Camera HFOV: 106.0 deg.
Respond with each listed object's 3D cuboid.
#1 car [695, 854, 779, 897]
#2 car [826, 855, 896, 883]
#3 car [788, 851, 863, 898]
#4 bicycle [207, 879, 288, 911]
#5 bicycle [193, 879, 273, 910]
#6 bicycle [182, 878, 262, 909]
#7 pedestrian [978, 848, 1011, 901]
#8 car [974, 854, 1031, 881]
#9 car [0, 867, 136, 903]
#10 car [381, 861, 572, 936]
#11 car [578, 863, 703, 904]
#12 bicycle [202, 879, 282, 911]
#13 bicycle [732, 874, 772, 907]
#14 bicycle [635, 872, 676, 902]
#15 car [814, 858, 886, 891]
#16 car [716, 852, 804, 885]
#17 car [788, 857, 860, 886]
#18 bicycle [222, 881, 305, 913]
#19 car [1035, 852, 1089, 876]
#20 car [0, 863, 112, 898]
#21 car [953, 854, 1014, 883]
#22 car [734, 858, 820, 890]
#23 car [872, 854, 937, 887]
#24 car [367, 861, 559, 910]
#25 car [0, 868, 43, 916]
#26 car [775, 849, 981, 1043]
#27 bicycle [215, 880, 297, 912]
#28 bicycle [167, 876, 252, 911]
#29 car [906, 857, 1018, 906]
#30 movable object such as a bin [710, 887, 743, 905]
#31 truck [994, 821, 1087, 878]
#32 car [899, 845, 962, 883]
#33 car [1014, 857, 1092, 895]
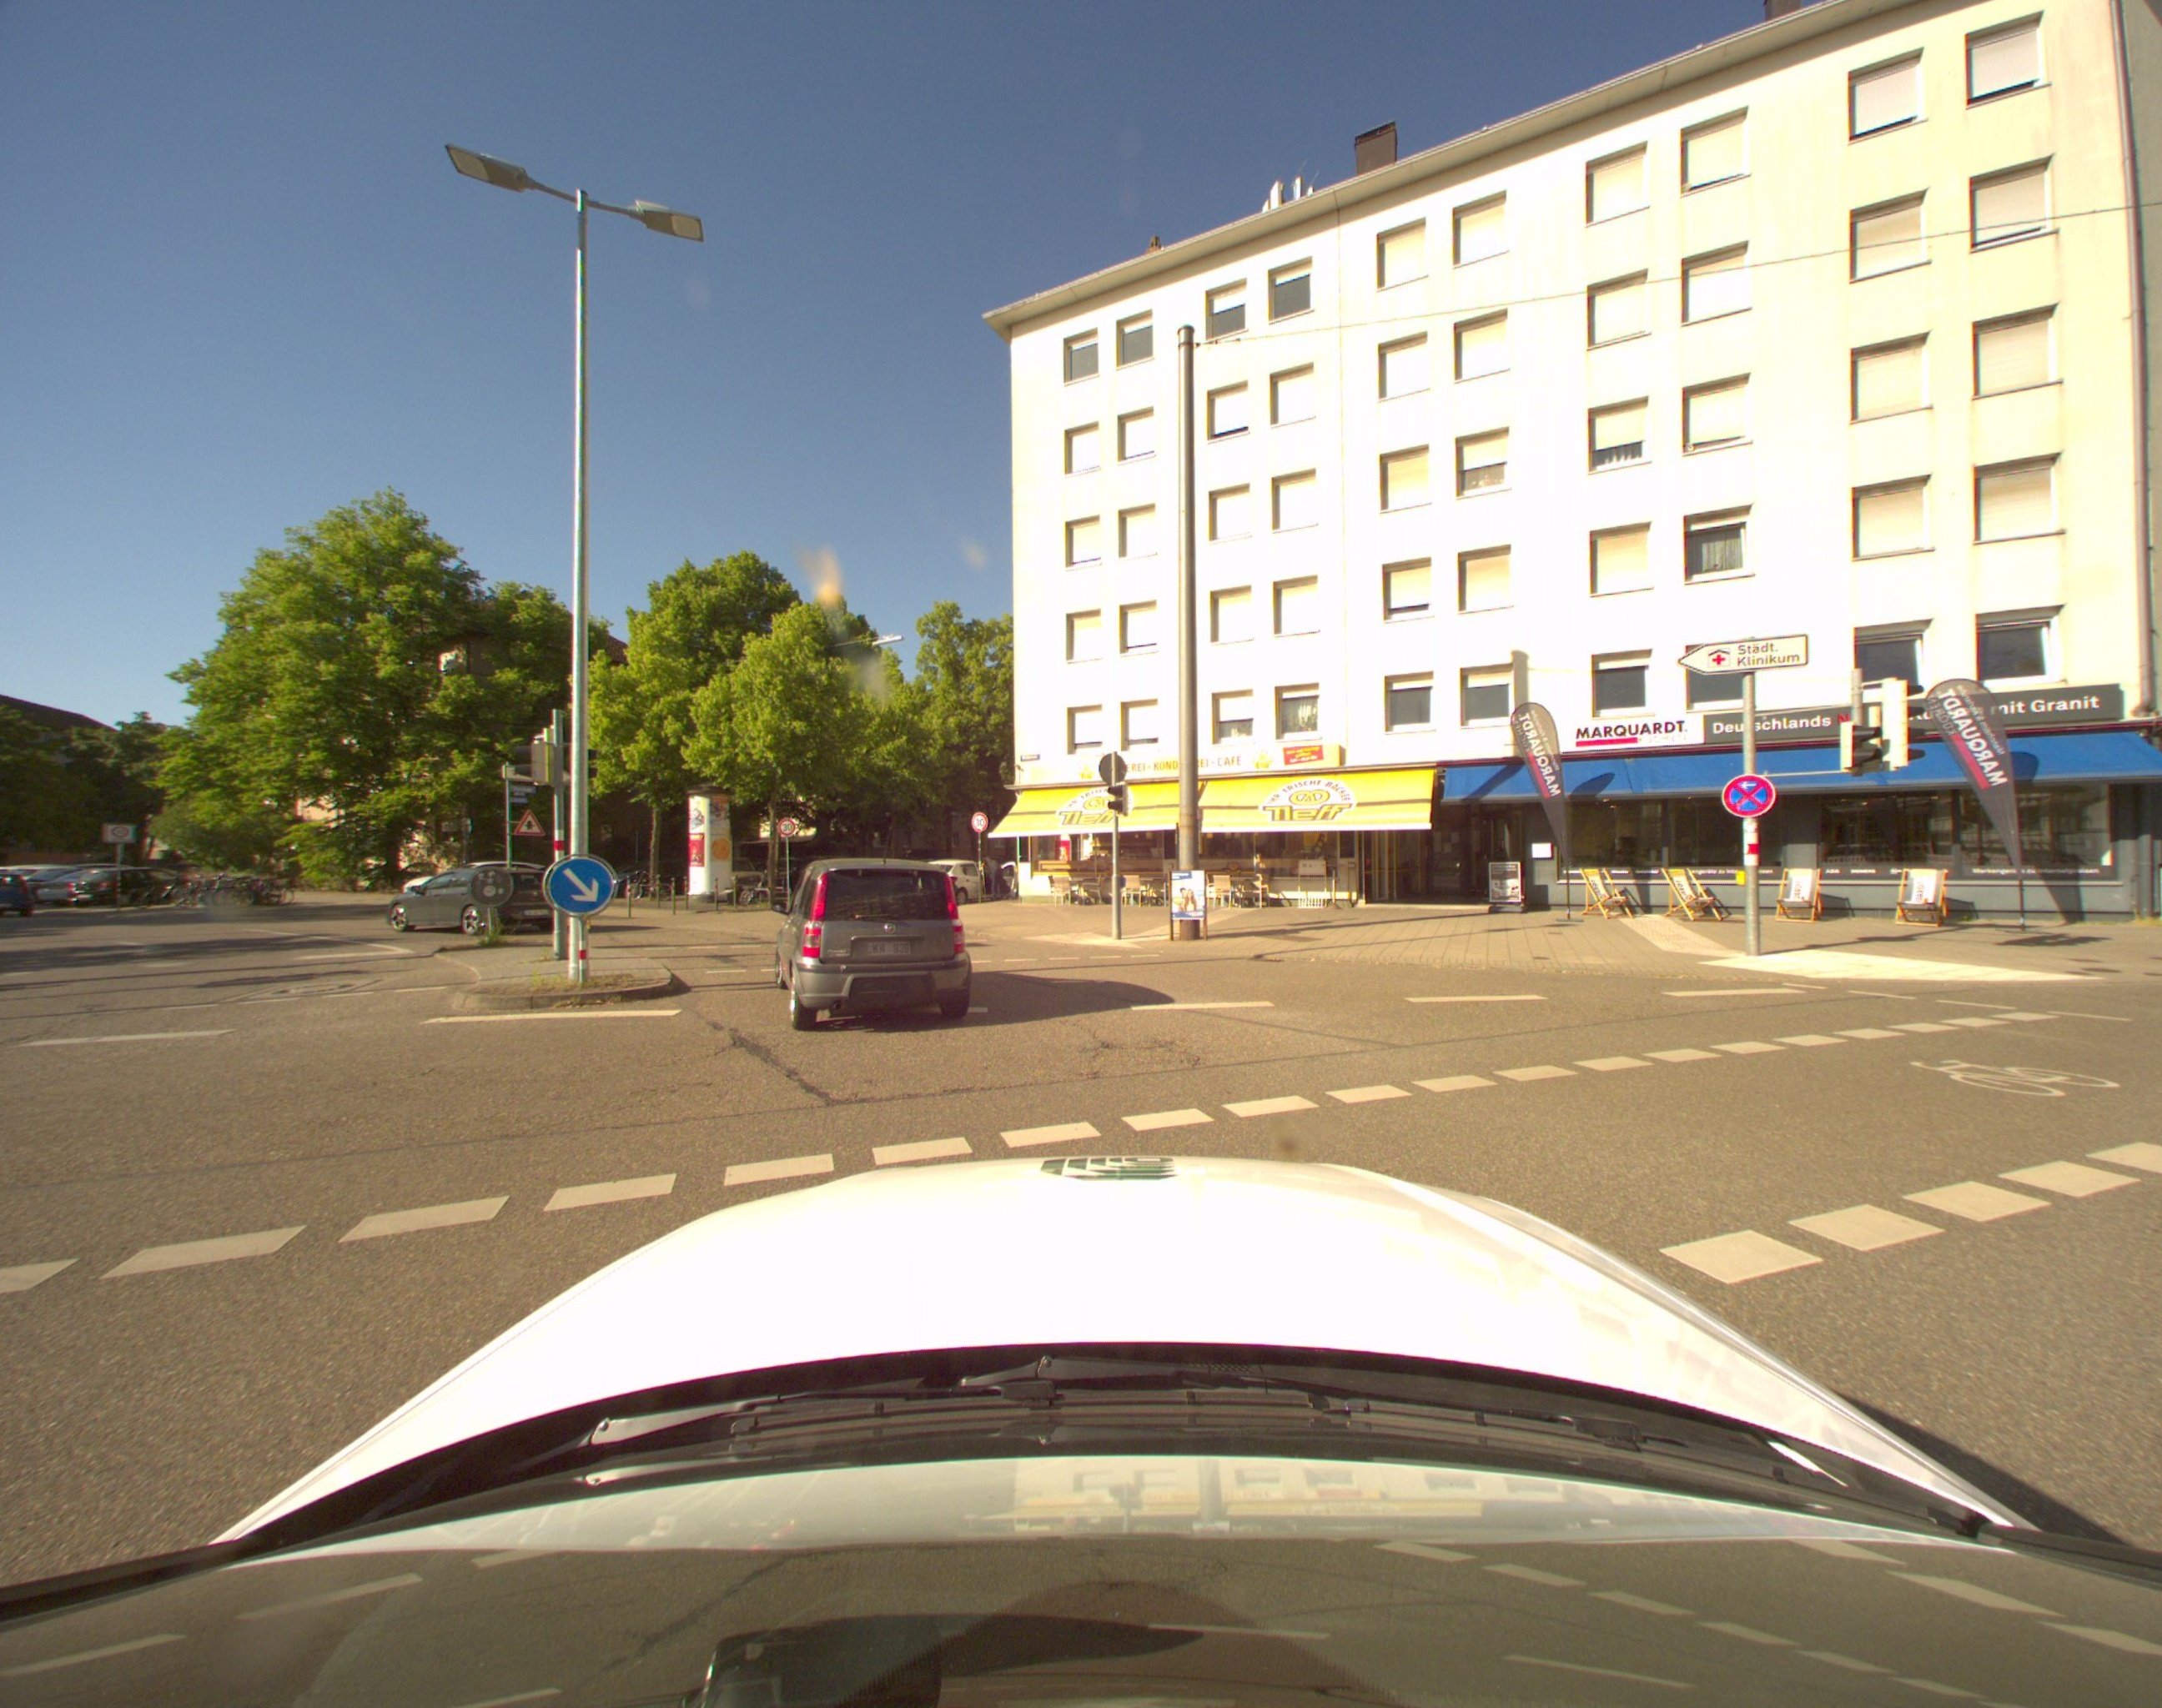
[{"bbox_3d":[-13.856,0.836,32.707,1.933,1.610,3.952,-1,0,-42],"label":"car"},{"bbox_3d":[-12.186,0.795,45.291,1.739,1.486,3.969,-1,0,20],"label":"car"},{"bbox_3d":[-10.439,0.778,33.063,1.844,1.671,4.292,-1,2,-33],"label":"car"},{"bbox_3d":[-30.442,1.487,29.798,0.463,1.031,2.044,-1,0,19],"label":"bicycle"},{"bbox_3d":[-31.435,1.497,30.247,0.443,1.031,2.044,-1,0,19],"label":"bicycle"},{"bbox_3d":[-32.010,1.469,30.393,0.443,1.031,2.044,-1,0,19],"label":"bicycle"},{"bbox_3d":[-2.859,0.665,26.824,0.751,1.722,0.750,-1,0,33],"label":"pedestrian"},{"bbox_3d":[-4.760,0.762,48.574,1.819,1.507,4.303,-1,0,-29],"label":"car"},{"bbox_3d":[-46.027,1.364,37.108,1.609,1.481,3.595,-1,0,3],"label":"car"},{"bbox_3d":[-13.337,0.934,17.981,3.713,1.508,1.693,-1,0,22],"label":"car"},{"bbox_3d":[-18.547,1.200,34.515,1.885,1.518,4.326,-1,0,27],"label":"car"},{"bbox_3d":[-30.879,1.496,30.029,0.443,1.031,2.044,-1,0,19],"label":"bicycle"},{"bbox_3d":[-11.319,1.242,28.077,0.350,1.072,1.599,-1,0,17],"label":"bicycle"},{"bbox_3d":[-16.115,1.226,30.903,0.350,1.072,1.599,-1,0,17],"label":"bicycle"},{"bbox_3d":[-10.723,0.908,37.671,1.830,1.422,3.904,-1,0,-39],"label":"car"},{"bbox_3d":[-16.872,0.730,42.996,1.738,1.640,4.271,-1,0,25],"label":"car"},{"bbox_3d":[-14.951,0.968,47.582,1.737,1.569,3.973,-1,0,27],"label":"car"},{"bbox_3d":[-29.304,1.517,29.244,0.564,1.031,2.044,-1,0,19],"label":"bicycle"},{"bbox_3d":[-1.292,0.644,53.864,1.855,1.503,3.960,0,0,-31],"label":"car"},{"bbox_3d":[-48.588,1.219,38.305,1.609,1.481,3.595,-1,0,3],"label":"car"},{"bbox_3d":[-5.366,0.766,44.455,1.819,1.507,4.303,-1,0,-29],"label":"car"},{"bbox_3d":[-14.892,0.948,40.110,1.739,1.486,3.969,-1,0,20],"label":"car"},{"bbox_3d":[-8.477,0.757,38.897,1.768,1.481,3.783,-1,0,-34],"label":"car"},{"bbox_3d":[-21.778,1.045,28.936,1.899,1.518,5.069,-1,0,33],"label":"car"},{"bbox_3d":[-35.974,1.254,26.758,3.551,1.508,1.694,-1,0,28],"label":"car"},{"bbox_3d":[-2.263,0.760,8.484,1.623,1.561,3.233,-1,0,-22],"label":"car"},{"bbox_3d":[-29.928,1.498,29.580,0.564,1.031,2.044,-1,0,19],"label":"bicycle"},{"bbox_3d":[-32.668,1.462,30.571,0.660,1.177,2.044,-1,0,19],"label":"bicycle"},{"bbox_3d":[-3.975,0.887,27.879,1.703,1.497,4.047,-1,0,28],"label":"car"},{"bbox_3d":[-12.488,1.485,28.742,0.573,0.565,1.116,-1,0,7],"label":"movable object such as a bin"},{"bbox_3d":[-2.669,-0.223,50.474,2.556,3.293,7.252,-1,0,-32],"label":"truck"},{"bbox_3d":[-7.990,0.502,42.875,1.941,1.873,4.461,-1,0,-29],"label":"car"},{"bbox_3d":[-1.106,0.862,33.672,1.581,1.463,3.695,-1,0,28],"label":"car"}]
